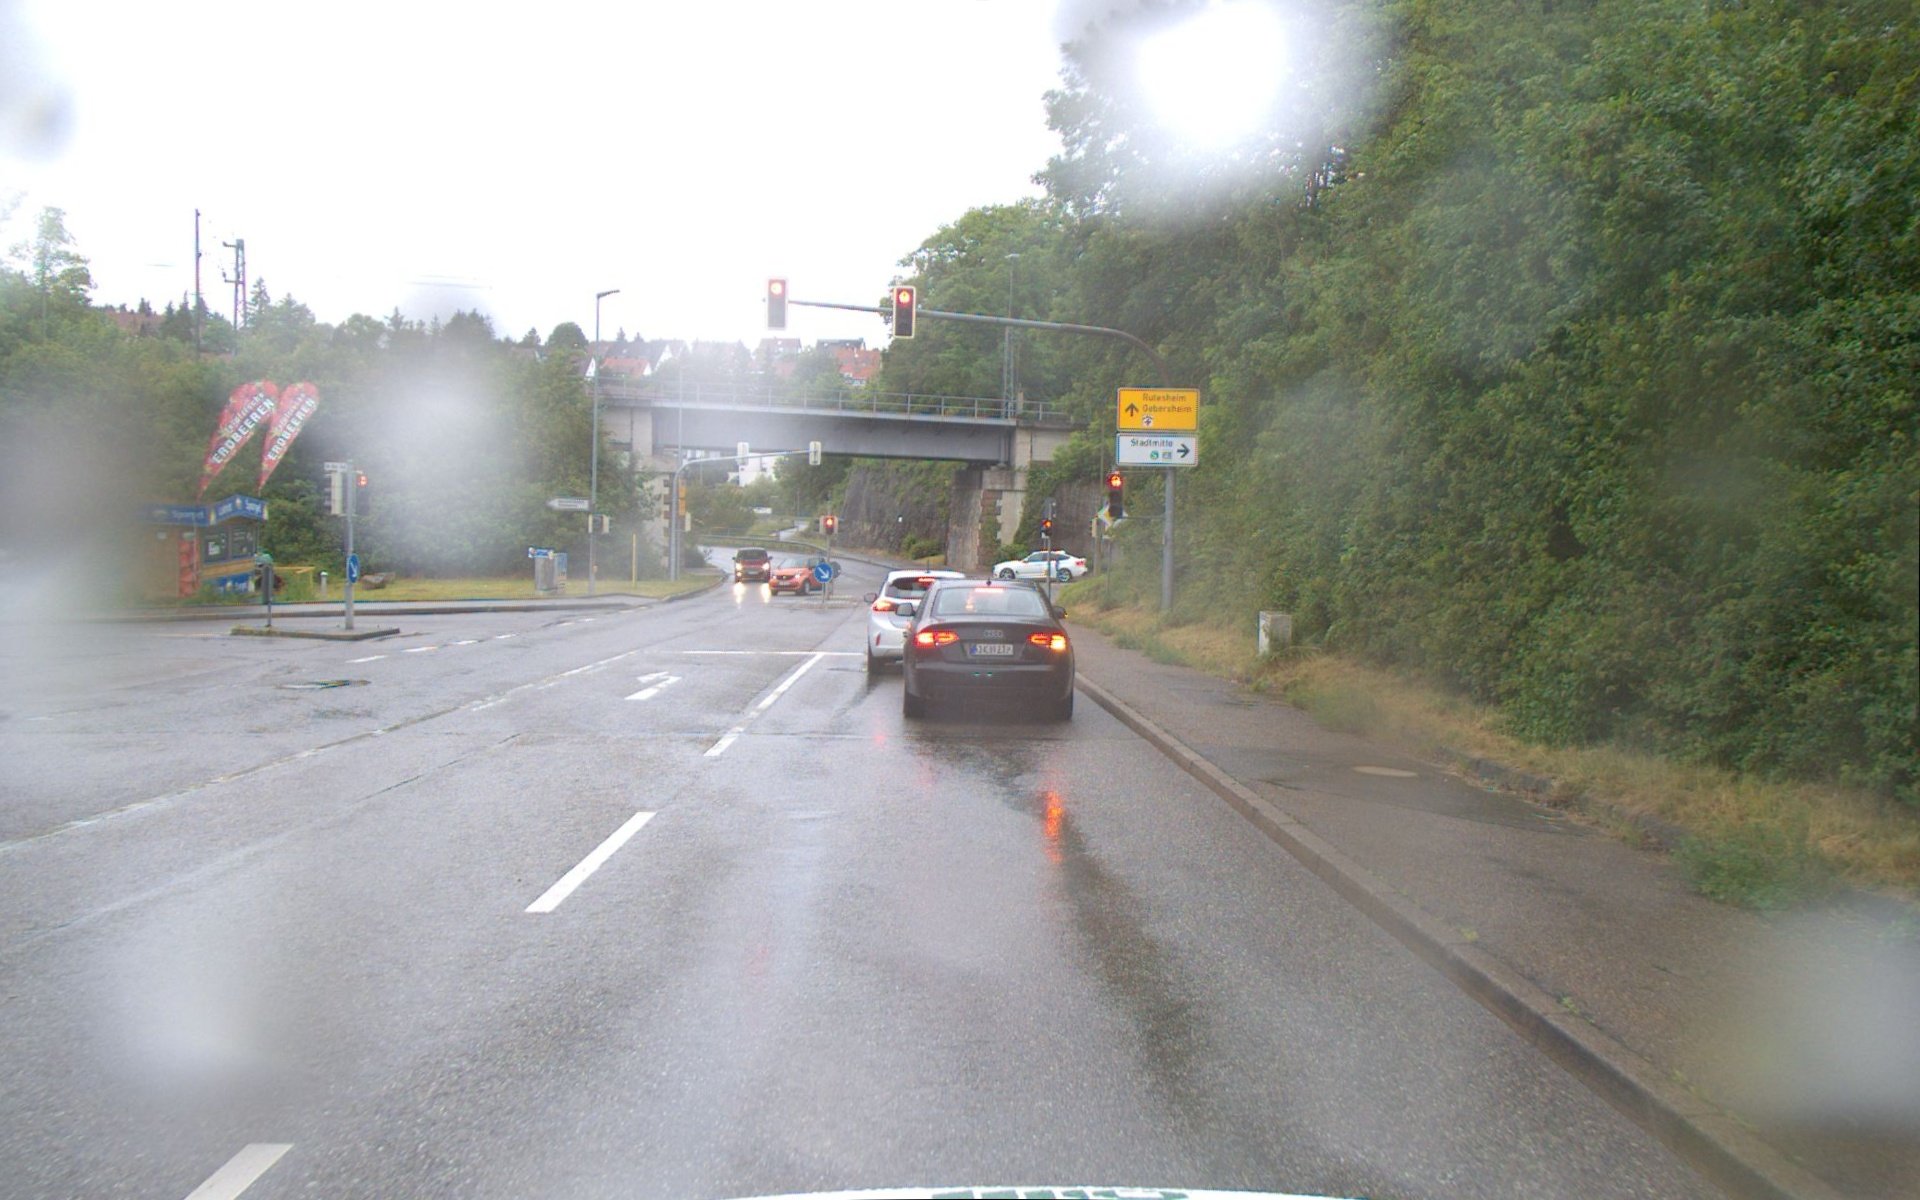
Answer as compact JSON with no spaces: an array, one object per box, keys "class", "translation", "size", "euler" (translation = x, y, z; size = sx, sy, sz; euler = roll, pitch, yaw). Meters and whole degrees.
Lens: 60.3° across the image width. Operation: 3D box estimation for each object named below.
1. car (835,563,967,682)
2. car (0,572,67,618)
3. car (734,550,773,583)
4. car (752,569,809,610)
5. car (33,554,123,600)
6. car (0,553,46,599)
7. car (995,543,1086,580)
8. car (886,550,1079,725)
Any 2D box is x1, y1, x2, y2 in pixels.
[{"class":"car","translation":[-0.846,0.310,24.608],"size":[1.786,1.613,3.999],"euler":[0,0,-1]},{"class":"car","translation":[-29.412,-0.147,51.488],"size":[1.623,1.363,4.885],"euler":[0,0,-14]},{"class":"car","translation":[-10.727,-1.735,85.670],"size":[1.956,1.656,3.993],"euler":[0,1,-8]},{"class":"car","translation":[-7.265,-0.424,67.437],"size":[1.953,1.613,3.999],"euler":[0,0,-1]},{"class":"car","translation":[-32.524,-0.858,61.108],"size":[1.960,1.612,3.986],"euler":[-1,1,-14]},{"class":"car","translation":[-34.649,-0.873,59.611],"size":[1.960,1.612,3.986],"euler":[-1,1,-14]},{"class":"car","translation":[4.055,-1.925,83.033],"size":[4.370,1.773,1.812],"euler":[0,0,7]},{"class":"car","translation":[0.178,0.316,17.912],"size":[1.832,1.644,4.000],"euler":[1,1,-1]}]
